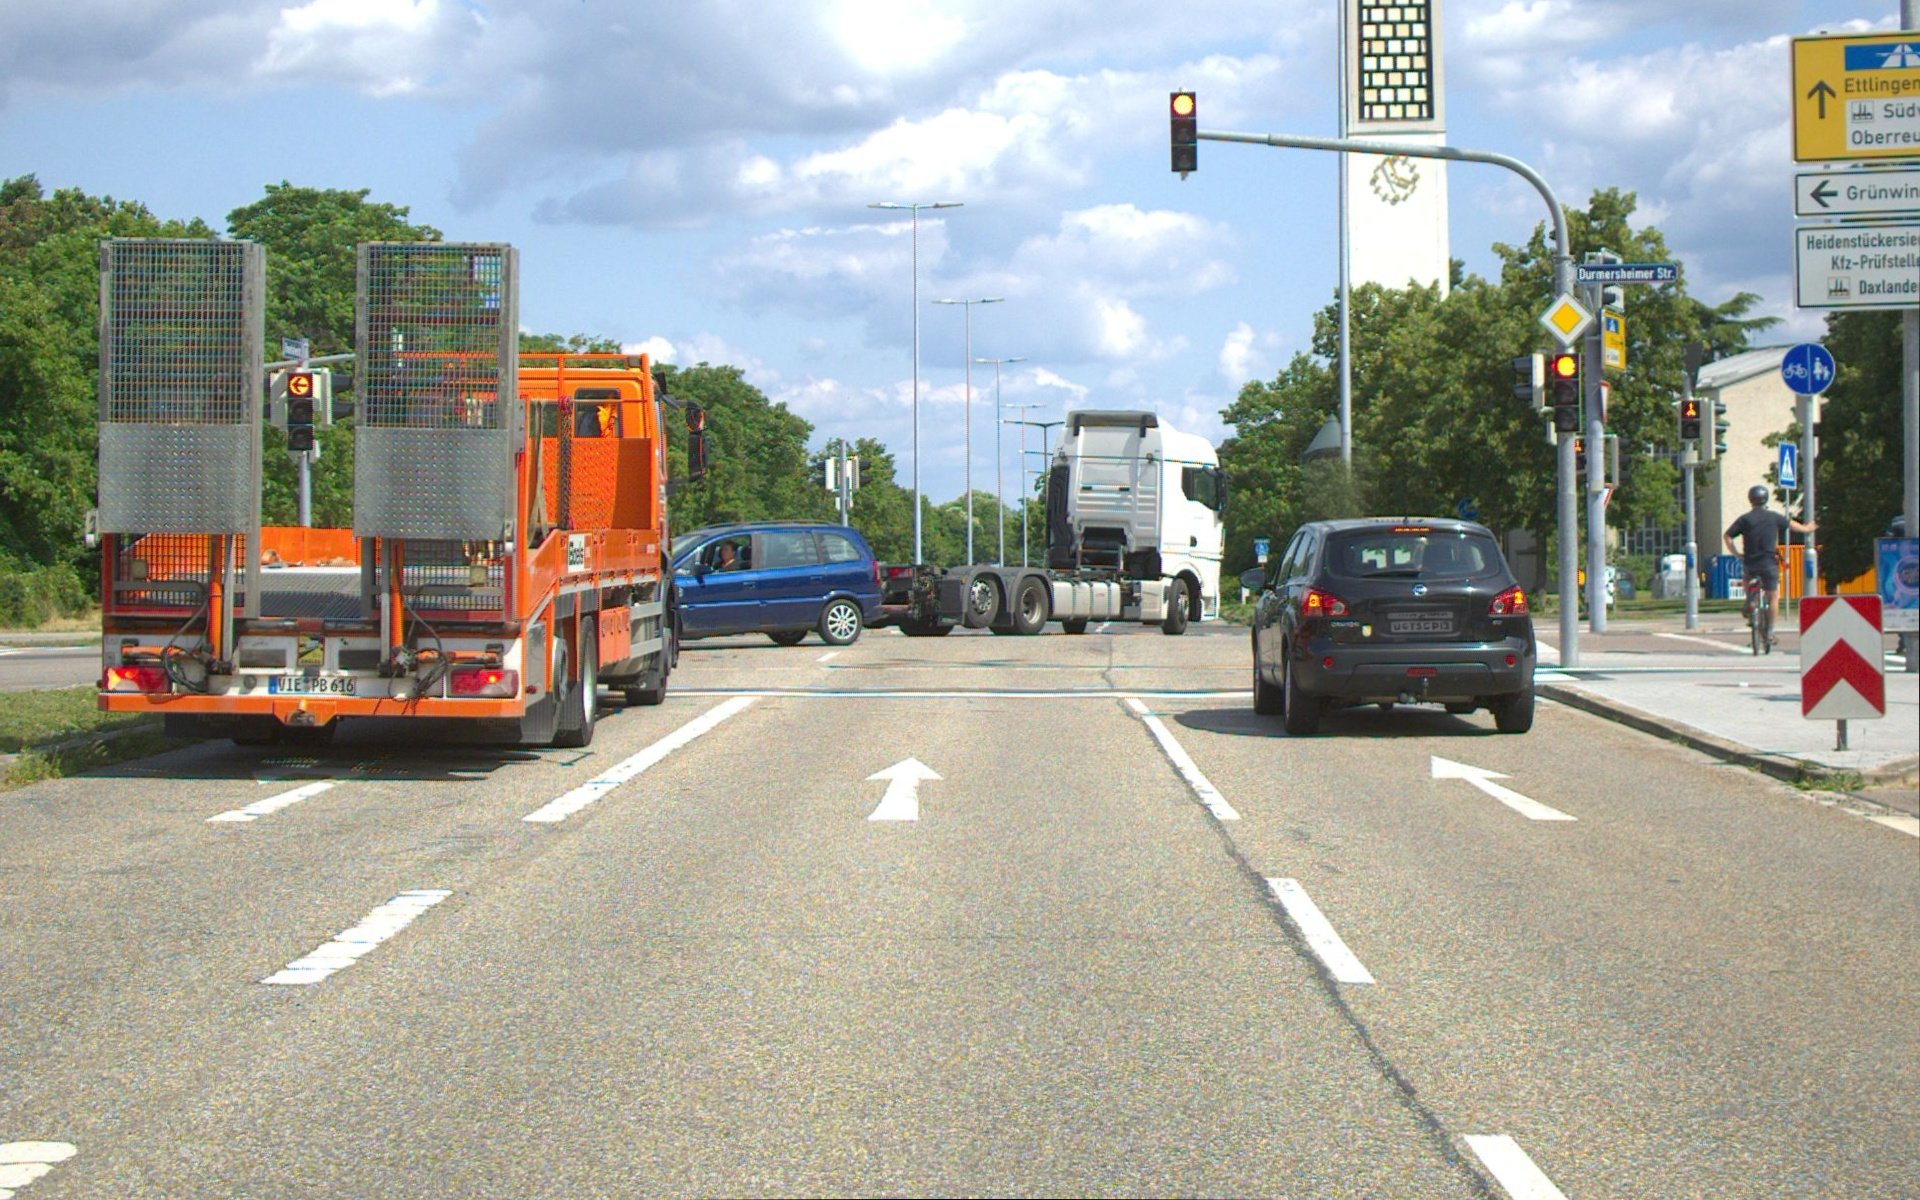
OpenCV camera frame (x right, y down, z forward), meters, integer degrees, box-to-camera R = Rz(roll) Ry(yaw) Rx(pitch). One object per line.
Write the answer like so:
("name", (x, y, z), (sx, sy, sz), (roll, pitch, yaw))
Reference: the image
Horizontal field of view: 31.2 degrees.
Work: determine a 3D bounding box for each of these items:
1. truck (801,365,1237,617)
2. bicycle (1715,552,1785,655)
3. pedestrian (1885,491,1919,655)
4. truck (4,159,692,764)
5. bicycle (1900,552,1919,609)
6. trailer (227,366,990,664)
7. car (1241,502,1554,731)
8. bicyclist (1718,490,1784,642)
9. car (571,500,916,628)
("truck", (1.164, -1.803, 58.390), (2.965, 3.957, 8.620), (2, 2, 36))
("bicycle", (8.784, 0.040, 38.182), (0.648, 1.104, 1.926), (1, 0, 16))
("pedestrian", (10.362, -0.291, 37.482), (0.465, 1.773, 0.482), (1, 0, 11))
("truck", (-3.945, -0.805, 25.275), (3.070, 3.402, 11.068), (1, 0, 0))
("bicycle", (18.930, -0.371, 65.361), (1.999, 1.090, 0.685), (0, 0, 19))
("trailer", (-4.980, -1.253, 51.294), (11.287, 3.998, 3.631), (-1, 1, -41))
("car", (3.205, 0.111, 25.900), (1.799, 1.547, 4.000), (1, 0, 0))
("bicyclist", (8.743, -0.370, 37.994), (0.648, 1.656, 0.649), (1, 0, 16))
("car", (-2.834, -0.459, 45.395), (4.200, 1.568, 1.855), (1, 0, -38))
